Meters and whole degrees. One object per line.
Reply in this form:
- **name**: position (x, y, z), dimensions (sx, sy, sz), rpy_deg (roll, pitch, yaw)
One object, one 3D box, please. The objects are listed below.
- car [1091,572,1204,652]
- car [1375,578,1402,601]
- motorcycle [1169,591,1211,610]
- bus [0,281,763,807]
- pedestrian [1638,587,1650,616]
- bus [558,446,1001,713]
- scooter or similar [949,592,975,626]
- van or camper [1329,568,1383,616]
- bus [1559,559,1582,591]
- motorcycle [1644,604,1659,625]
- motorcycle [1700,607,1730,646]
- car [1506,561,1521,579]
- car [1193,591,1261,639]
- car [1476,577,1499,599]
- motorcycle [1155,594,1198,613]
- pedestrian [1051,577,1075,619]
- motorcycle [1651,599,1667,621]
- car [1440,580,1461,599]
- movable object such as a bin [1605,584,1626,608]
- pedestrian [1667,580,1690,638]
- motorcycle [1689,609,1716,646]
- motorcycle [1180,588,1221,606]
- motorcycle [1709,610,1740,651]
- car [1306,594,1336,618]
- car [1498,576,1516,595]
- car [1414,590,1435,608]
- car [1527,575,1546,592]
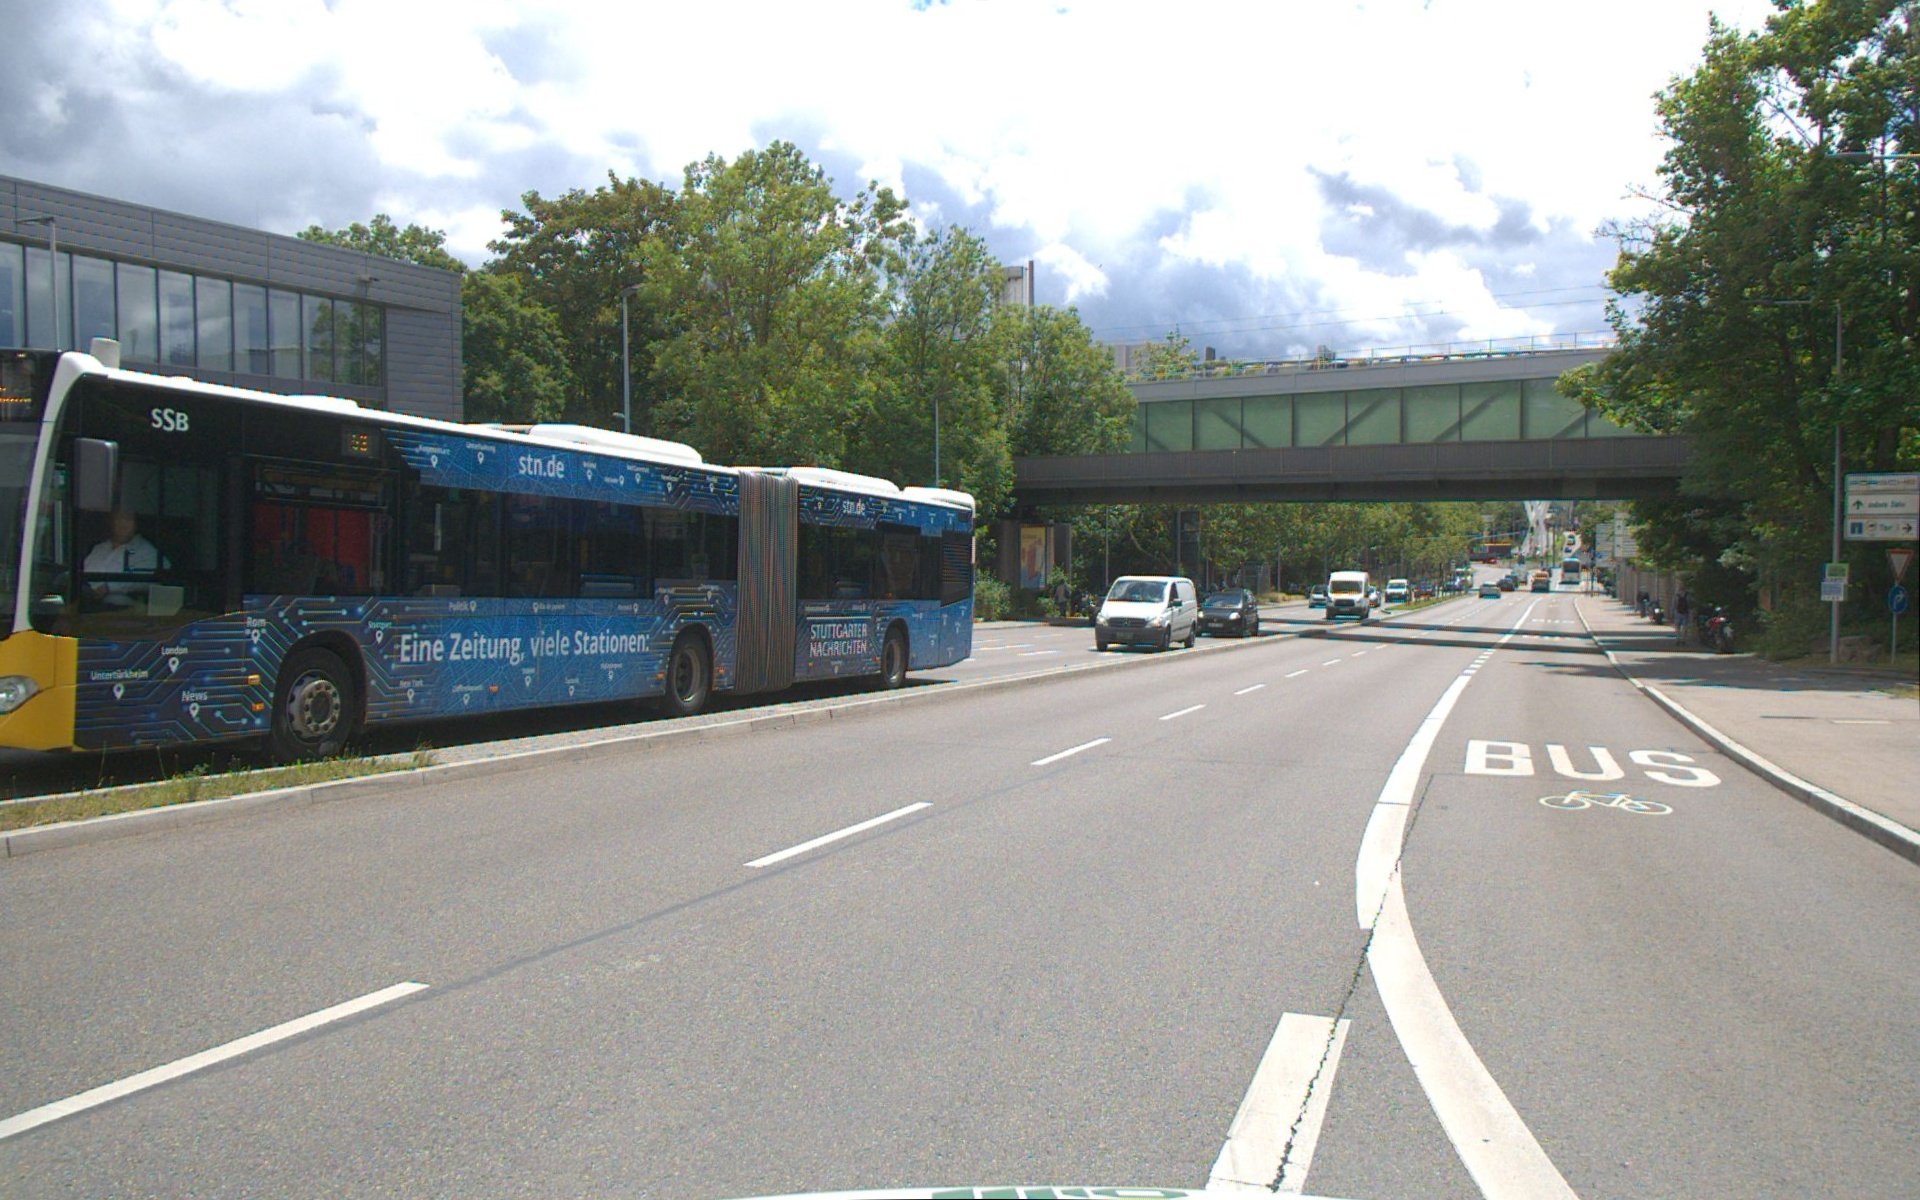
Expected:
- **car**: position (4.999, 0.271, 43.490), dimensions (1.838, 1.958, 4.751), rpy_deg (1, 1, 20)
- **car**: position (34.238, -0.830, 132.094), dimensions (1.665, 1.728, 3.925), rpy_deg (1, 1, 20)
- **motorcycle**: position (14.392, 0.027, 103.467), dimensions (2.502, 1.068, 0.673), rpy_deg (1, 0, 27)
- **bus**: position (-5.496, -0.361, 15.730), dimensions (2.758, 3.342, 10.120), rpy_deg (1, 0, 21)
- **pedestrian**: position (39.720, 0.086, 96.048), dimensions (0.607, 1.646, 0.747), rpy_deg (1, 4, 19)
- **bus**: position (-2.195, -0.334, 24.601), dimensions (2.758, 3.219, 8.908), rpy_deg (1, 1, 21)
- **scooter or similar**: position (0.076, 0.310, 60.808), dimensions (0.599, 1.232, 1.262), rpy_deg (1, 1, 19)
- **van or camper**: position (20.852, -0.420, 86.916), dimensions (1.967, 2.443, 6.399), rpy_deg (1, 0, 21)
- **bus**: position (85.031, -3.579, 230.572), dimensions (2.738, 3.816, 9.477), rpy_deg (1, 5, 19)
- **motorcycle**: position (35.780, 0.749, 85.625), dimensions (0.551, 1.047, 2.630), rpy_deg (-1, 1, 19)
- **motorcycle**: position (22.640, 0.785, 49.635), dimensions (0.535, 1.130, 2.019), rpy_deg (0, 0, 17)
- **car**: position (73.492, -3.993, 219.461), dimensions (1.835, 2.048, 3.696), rpy_deg (1, 5, 19)
- **car**: position (9.058, 0.478, 55.971), dimensions (1.603, 1.496, 3.777), rpy_deg (1, 1, 20)
- **car**: position (48.933, -1.132, 153.385), dimensions (1.890, 1.802, 4.003), rpy_deg (1, 5, 20)
- **motorcycle**: position (13.256, 0.211, 101.352), dimensions (2.502, 1.068, 0.673), rpy_deg (1, 0, 27)
- **pedestrian**: position (4.265, -0.084, 68.719), dimensions (0.709, 1.650, 0.721), rpy_deg (6, 5, 19)
- **motorcycle**: position (34.598, 0.473, 81.847), dimensions (0.551, 1.047, 2.630), rpy_deg (-1, 1, 19)
- **car**: position (54.355, -1.199, 183.297), dimensions (1.952, 2.049, 4.001), rpy_deg (1, 1, 20)
- **movable object such as a bin**: position (60.143, -0.360, 151.724), dimensions (1.632, 2.170, 1.277), rpy_deg (1, 0, 26)
- **pedestrian**: position (23.764, 0.312, 54.712), dimensions (0.610, 1.891, 0.872), rpy_deg (1, -1, 18)
- **motorcycle**: position (23.546, 0.856, 52.464), dimensions (0.535, 1.130, 2.019), rpy_deg (0, 0, 17)
- **motorcycle**: position (15.370, -0.176, 105.877), dimensions (2.502, 1.068, 0.673), rpy_deg (1, 0, 27)
- **motorcycle**: position (21.828, 0.853, 47.242), dimensions (0.535, 1.130, 2.019), rpy_deg (0, 0, 17)
- **car**: position (24.876, 0.404, 113.823), dimensions (1.665, 1.578, 3.926), rpy_deg (1, 1, 17)
- **car**: position (60.712, -1.672, 183.488), dimensions (1.819, 1.734, 4.005), rpy_deg (0, 6, 19)
- **car**: position (44.233, -0.110, 157.427), dimensions (1.665, 1.728, 3.925), rpy_deg (1, 1, 20)
- **car**: position (63.554, -1.822, 182.351), dimensions (1.952, 1.892, 4.001), rpy_deg (1, 1, 19)
